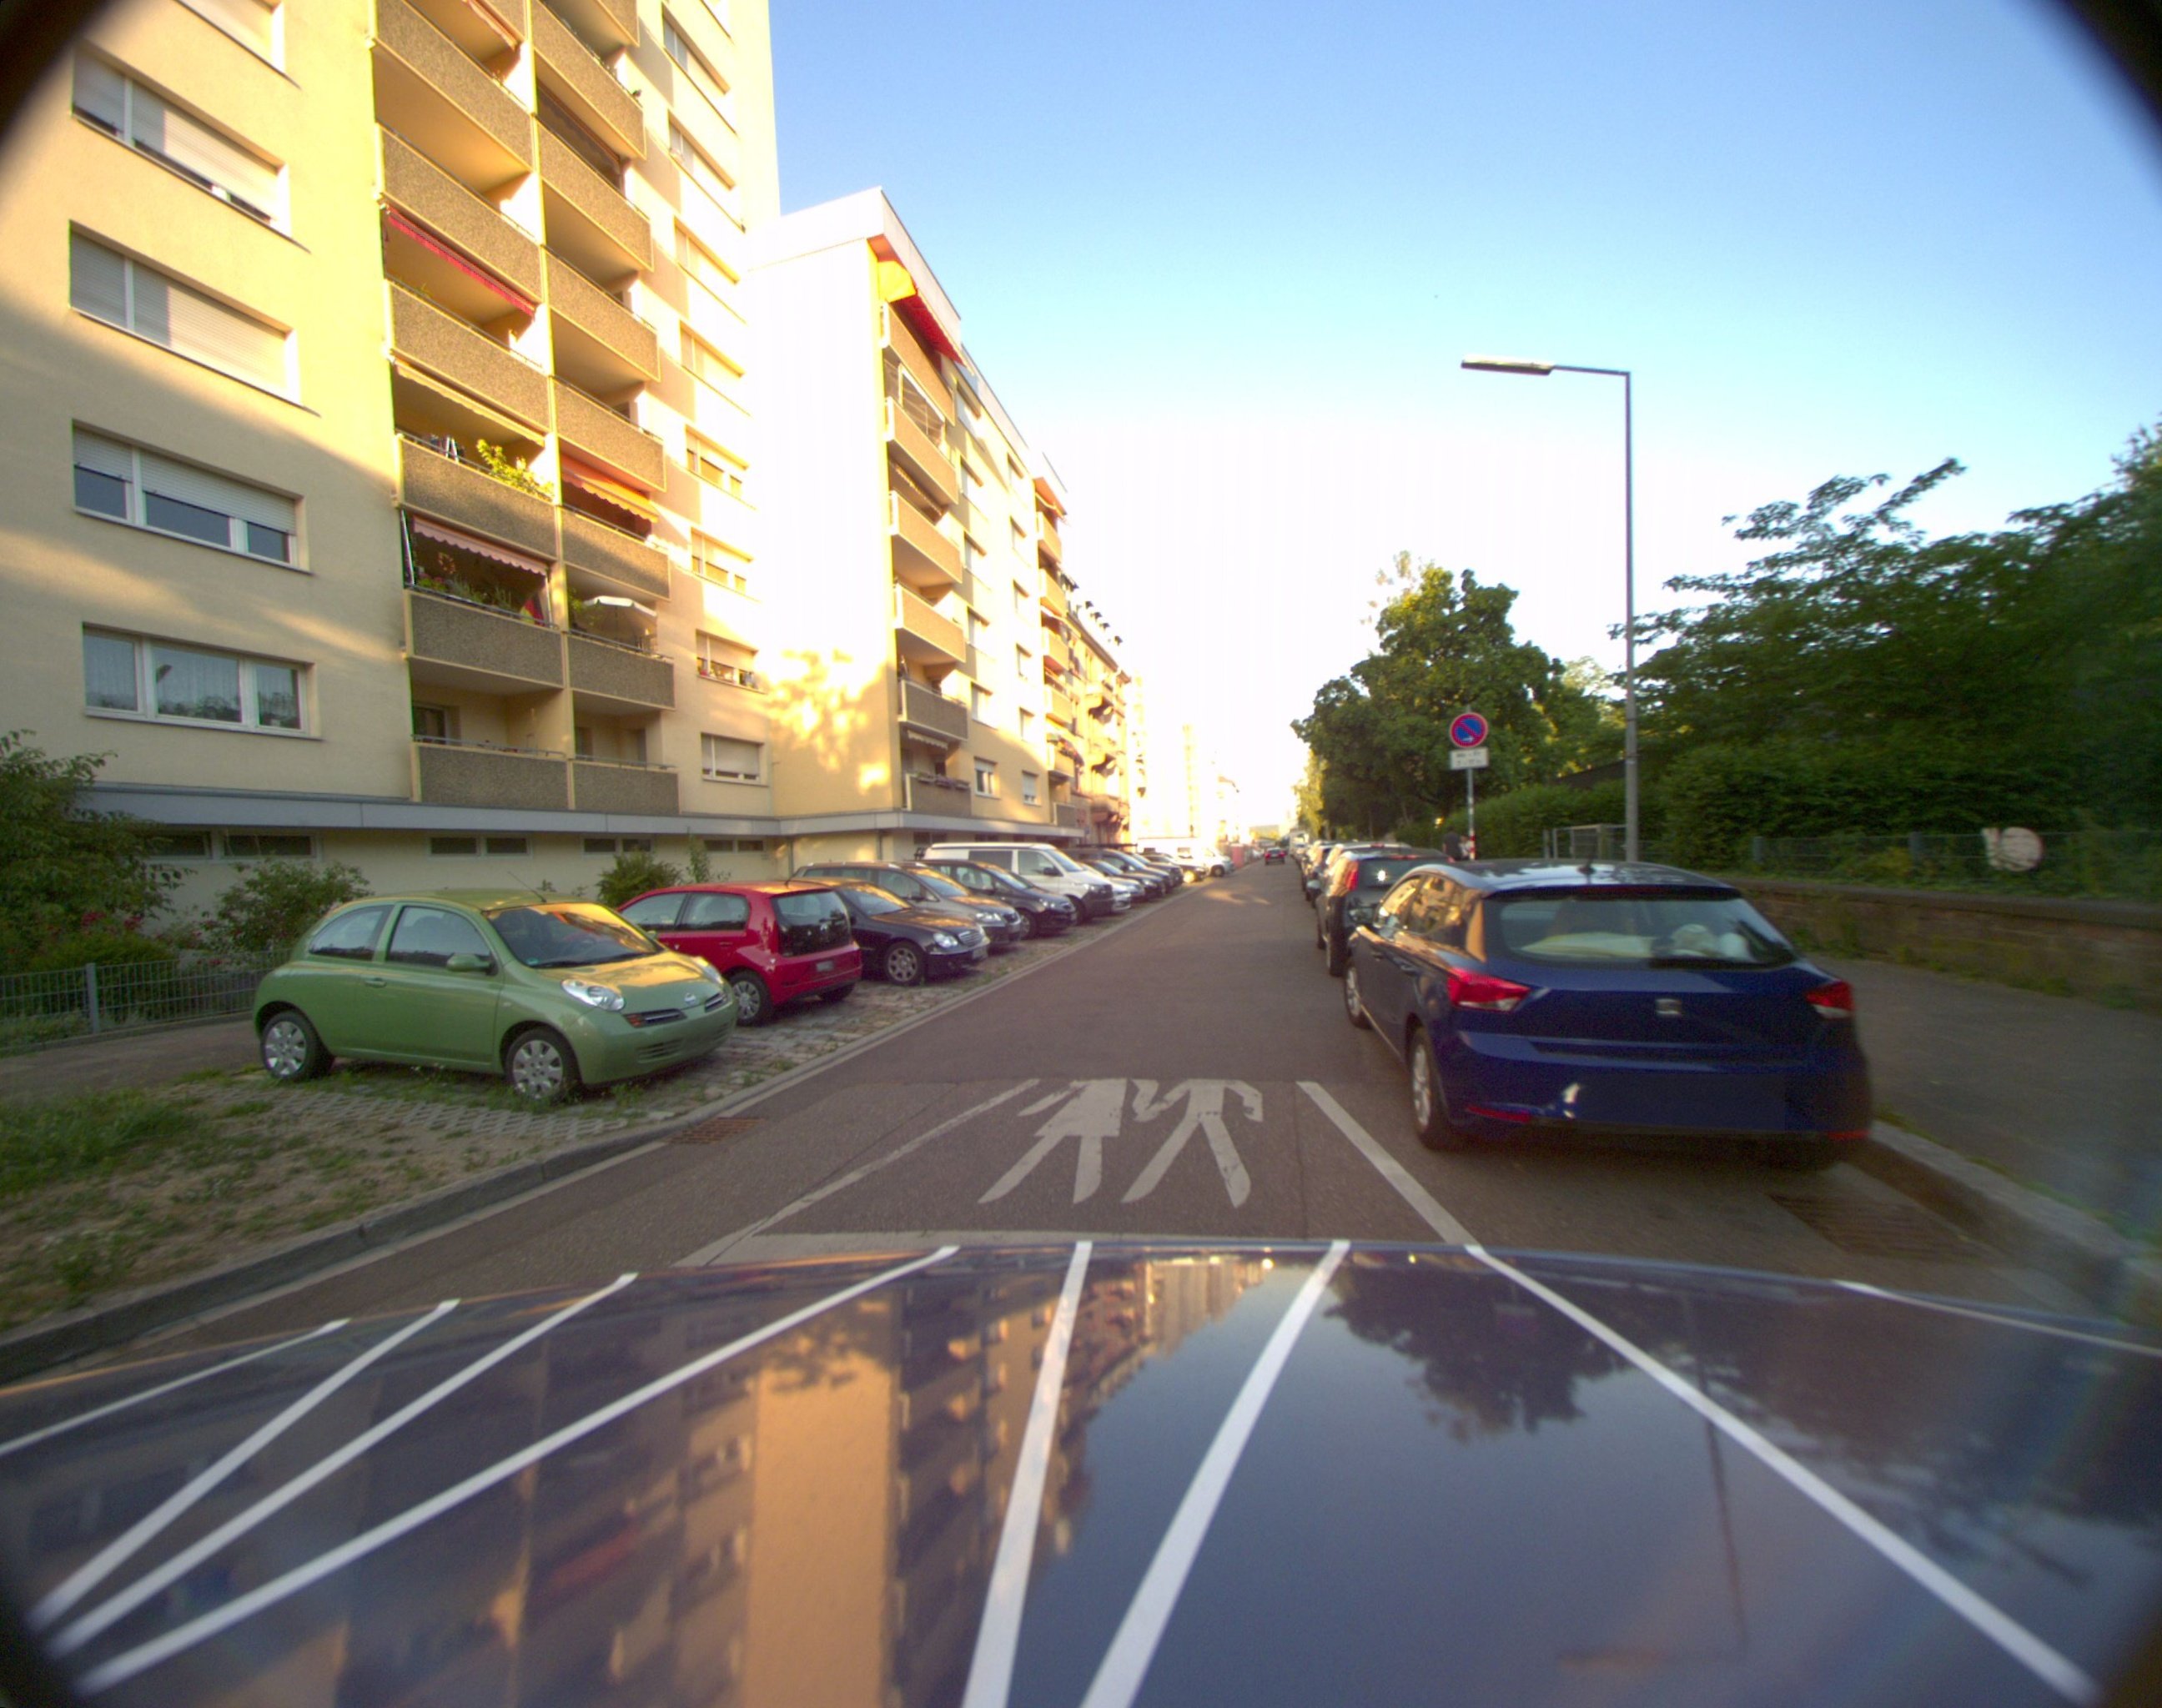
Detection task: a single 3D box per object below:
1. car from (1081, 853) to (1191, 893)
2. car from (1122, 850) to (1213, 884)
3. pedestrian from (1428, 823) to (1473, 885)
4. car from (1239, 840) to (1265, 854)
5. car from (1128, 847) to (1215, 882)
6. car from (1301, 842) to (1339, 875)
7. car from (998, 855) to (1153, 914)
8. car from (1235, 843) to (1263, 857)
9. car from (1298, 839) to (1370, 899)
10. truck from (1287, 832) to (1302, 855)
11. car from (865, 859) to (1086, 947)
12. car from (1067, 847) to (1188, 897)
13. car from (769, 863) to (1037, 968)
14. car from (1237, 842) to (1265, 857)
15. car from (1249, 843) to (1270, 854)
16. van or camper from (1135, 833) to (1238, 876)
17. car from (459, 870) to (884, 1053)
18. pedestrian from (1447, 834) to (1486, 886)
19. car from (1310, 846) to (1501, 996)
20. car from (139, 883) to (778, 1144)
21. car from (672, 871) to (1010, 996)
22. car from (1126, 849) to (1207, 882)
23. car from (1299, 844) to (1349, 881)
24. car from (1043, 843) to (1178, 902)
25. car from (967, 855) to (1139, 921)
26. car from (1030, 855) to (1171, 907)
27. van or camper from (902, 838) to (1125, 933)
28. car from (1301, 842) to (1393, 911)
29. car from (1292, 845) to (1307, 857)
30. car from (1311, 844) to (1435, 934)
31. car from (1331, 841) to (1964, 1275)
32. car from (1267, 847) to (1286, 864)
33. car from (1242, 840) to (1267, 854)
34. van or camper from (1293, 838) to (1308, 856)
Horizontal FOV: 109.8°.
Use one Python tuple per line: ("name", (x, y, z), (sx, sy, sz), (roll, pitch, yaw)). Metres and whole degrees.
("car", (2.424, 0.830, 33.171), (4.409, 1.545, 1.847), (-2, 2, 18))
("car", (4.518, 0.674, 39.555), (4.409, 1.545, 1.847), (-2, 2, 16))
("pedestrian", (10.984, -0.006, 22.610), (0.900, 1.722, 0.751), (-6, 0, 14))
("car", (28.554, -1.130, 127.059), (3.993, 2.002, 2.002), (-4, 0, 15))
("car", (5.029, 0.591, 42.083), (4.408, 1.739, 1.847), (-2, 3, 19))
("car", (12.473, 0.200, 39.843), (1.736, 1.622, 3.985), (-2, 0, 16))
("car", (-0.136, 0.947, 23.502), (4.409, 1.584, 1.847), (-2, 2, 15))
("car", (26.303, -0.641, 118.859), (3.993, 2.002, 2.002), (-4, 0, 15))
("car", (8.061, 0.437, 24.513), (1.736, 1.720, 4.327), (-2, 0, 13))
("truck", (37.941, -1.801, 134.945), (2.180, 3.860, 4.931), (-4, 0, 15))
("car", (-2.209, 1.001, 16.401), (4.332, 1.652, 1.782), (0, 3, 13))
("car", (1.885, 0.708, 30.630), (4.519, 1.852, 1.847), (-2, 1, 15))
("car", (-3.207, 1.048, 14.024), (4.410, 1.652, 1.847), (0, 3, 13))
("car", (25.972, -0.619, 116.304), (3.993, 2.002, 2.002), (-4, 0, 15))
("car", (37.168, -1.070, 158.365), (3.993, 2.002, 2.002), (-4, 0, 15))
("van or camper", (6.569, 0.034, 47.239), (6.067, 2.489, 2.052), (-1, 1, 16))
("car", (-4.758, 1.090, 8.958), (4.408, 1.622, 1.848), (1, 2, 18))
("pedestrian", (11.960, 0.180, 23.613), (0.749, 1.499, 0.903), (-6, 0, 14))
("car", (3.965, 0.702, 9.870), (1.736, 1.558, 3.701), (-2, 0, 15))
("car", (-5.165, 1.187, 6.526), (4.410, 1.622, 1.847), (-2, 2, 13))
("car", (-3.482, 1.128, 11.325), (4.410, 1.523, 1.847), (-2, 2, 13))
("car", (5.042, 0.669, 44.711), (4.409, 1.610, 1.847), (-4, 2, 17))
("car", (10.944, 0.348, 34.507), (1.761, 1.534, 4.284), (-2, 0, 13))
("car", (1.135, 0.675, 28.259), (4.643, 1.970, 1.847), (-2, 3, 15))
("car", (-0.757, 0.950, 21.343), (4.409, 1.622, 1.847), (-2, 2, 15))
("car", (0.694, 0.912, 25.867), (4.409, 1.554, 1.847), (-2, 2, 15))
("van or camper", (-1.625, 0.680, 18.949), (5.140, 2.155, 2.042), (0, 2, 14))
("car", (6.687, 0.505, 19.497), (1.736, 1.558, 4.171), (-2, 0, 13))
("car", (28.179, -0.403, 98.104), (1.736, 1.358, 4.296), (-2, 0, 14))
("car", (5.733, 0.610, 15.376), (1.736, 1.558, 4.133), (-2, 0, 13))
("car", (2.701, 0.742, 4.752), (1.736, 1.558, 3.794), (-2, 0, 12))
("car", (19.259, 0.108, 74.821), (1.736, 1.622, 4.130), (-2, 0, 15))
("car", (29.713, -1.223, 130.018), (3.993, 2.002, 2.002), (-4, 0, 15))
("van or camper", (31.433, -1.037, 109.009), (1.822, 2.400, 4.296), (-2, 0, 14))
